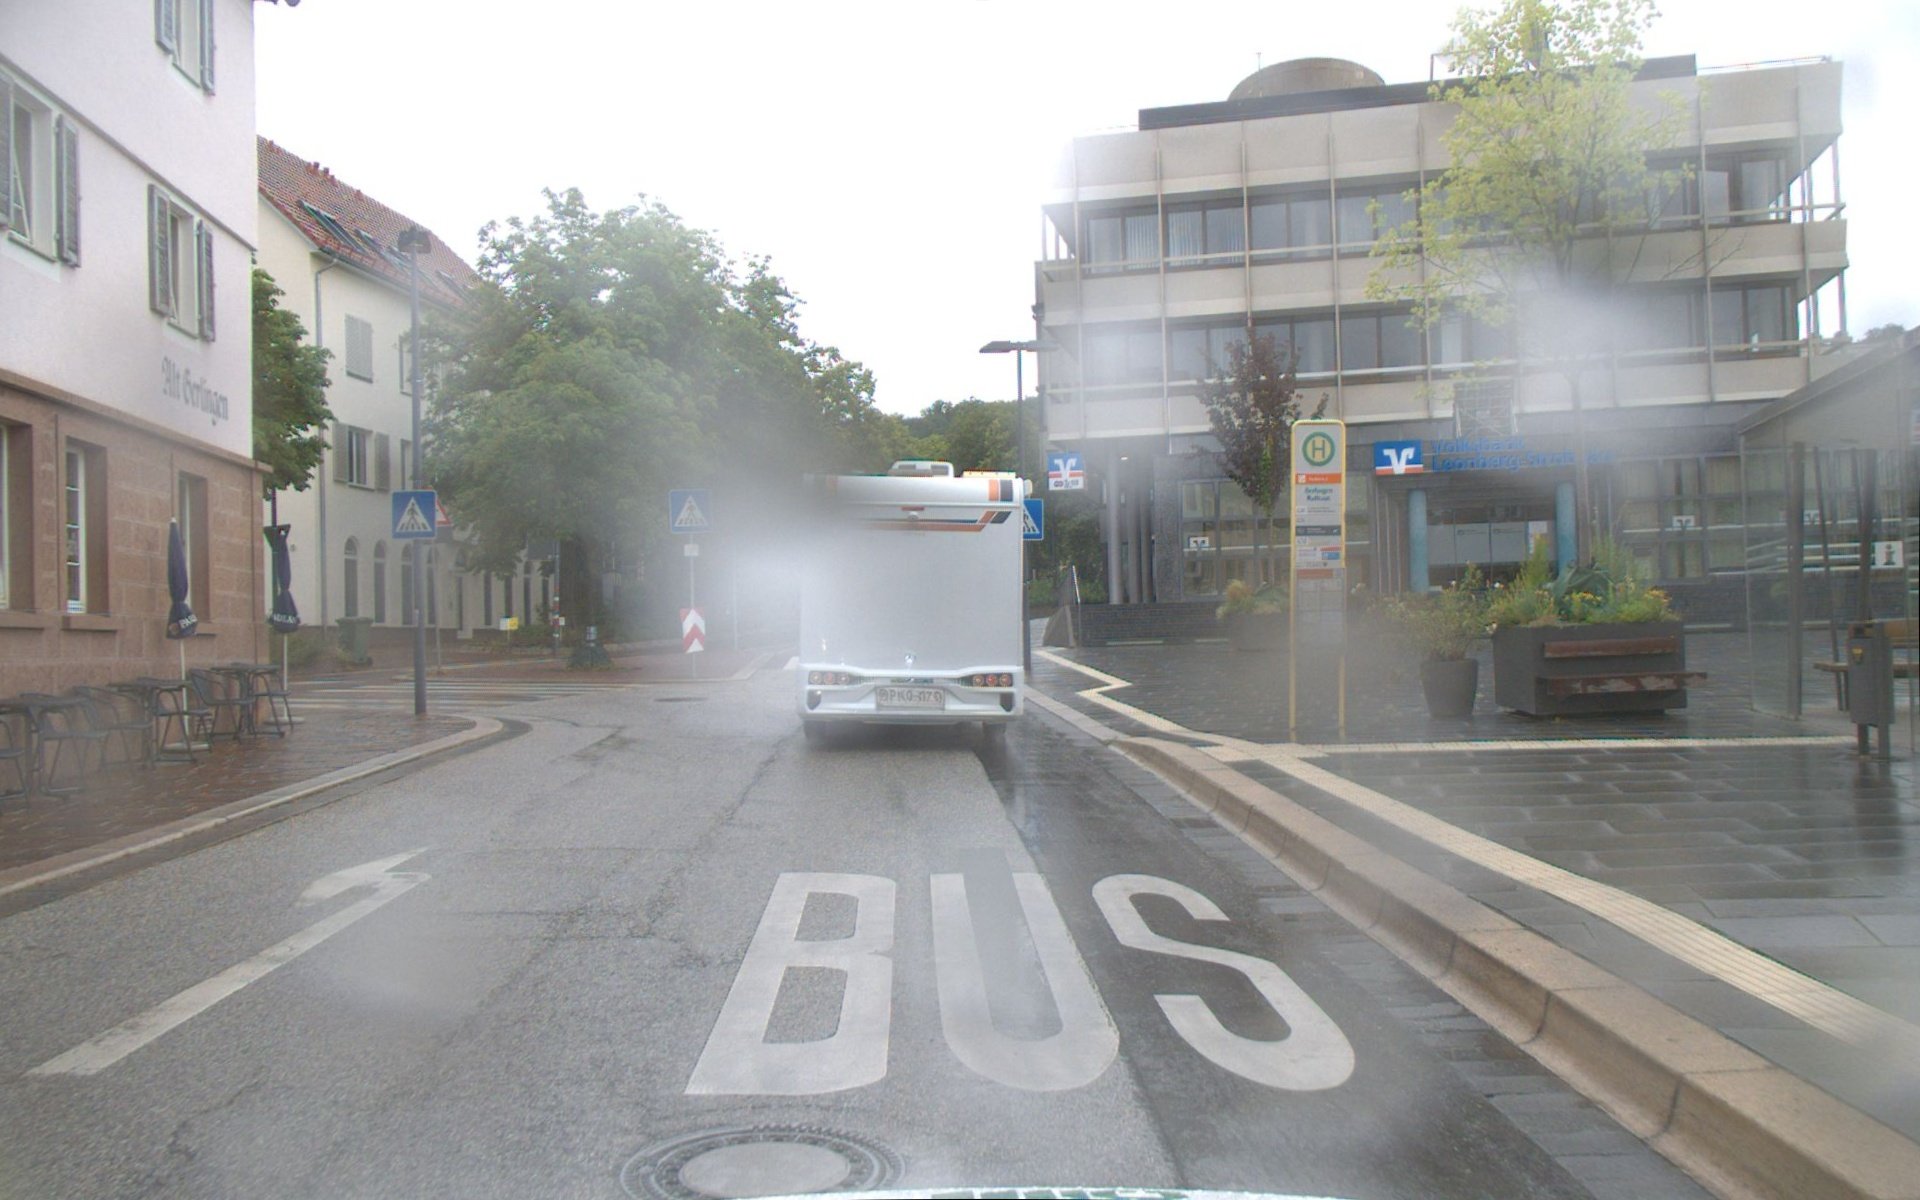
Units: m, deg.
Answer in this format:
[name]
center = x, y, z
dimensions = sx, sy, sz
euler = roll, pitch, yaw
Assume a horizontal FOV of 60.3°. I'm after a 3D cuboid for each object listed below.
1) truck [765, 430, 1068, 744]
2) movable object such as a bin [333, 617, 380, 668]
[truck]
center = -0.564, -0.090, 18.734
dimensions = 2.750, 2.845, 6.102
euler = -3, -1, -3
[movable object such as a bin]
center = -13.363, 0.931, 36.629
dimensions = 0.621, 1.077, 0.698
euler = -3, -1, 22
